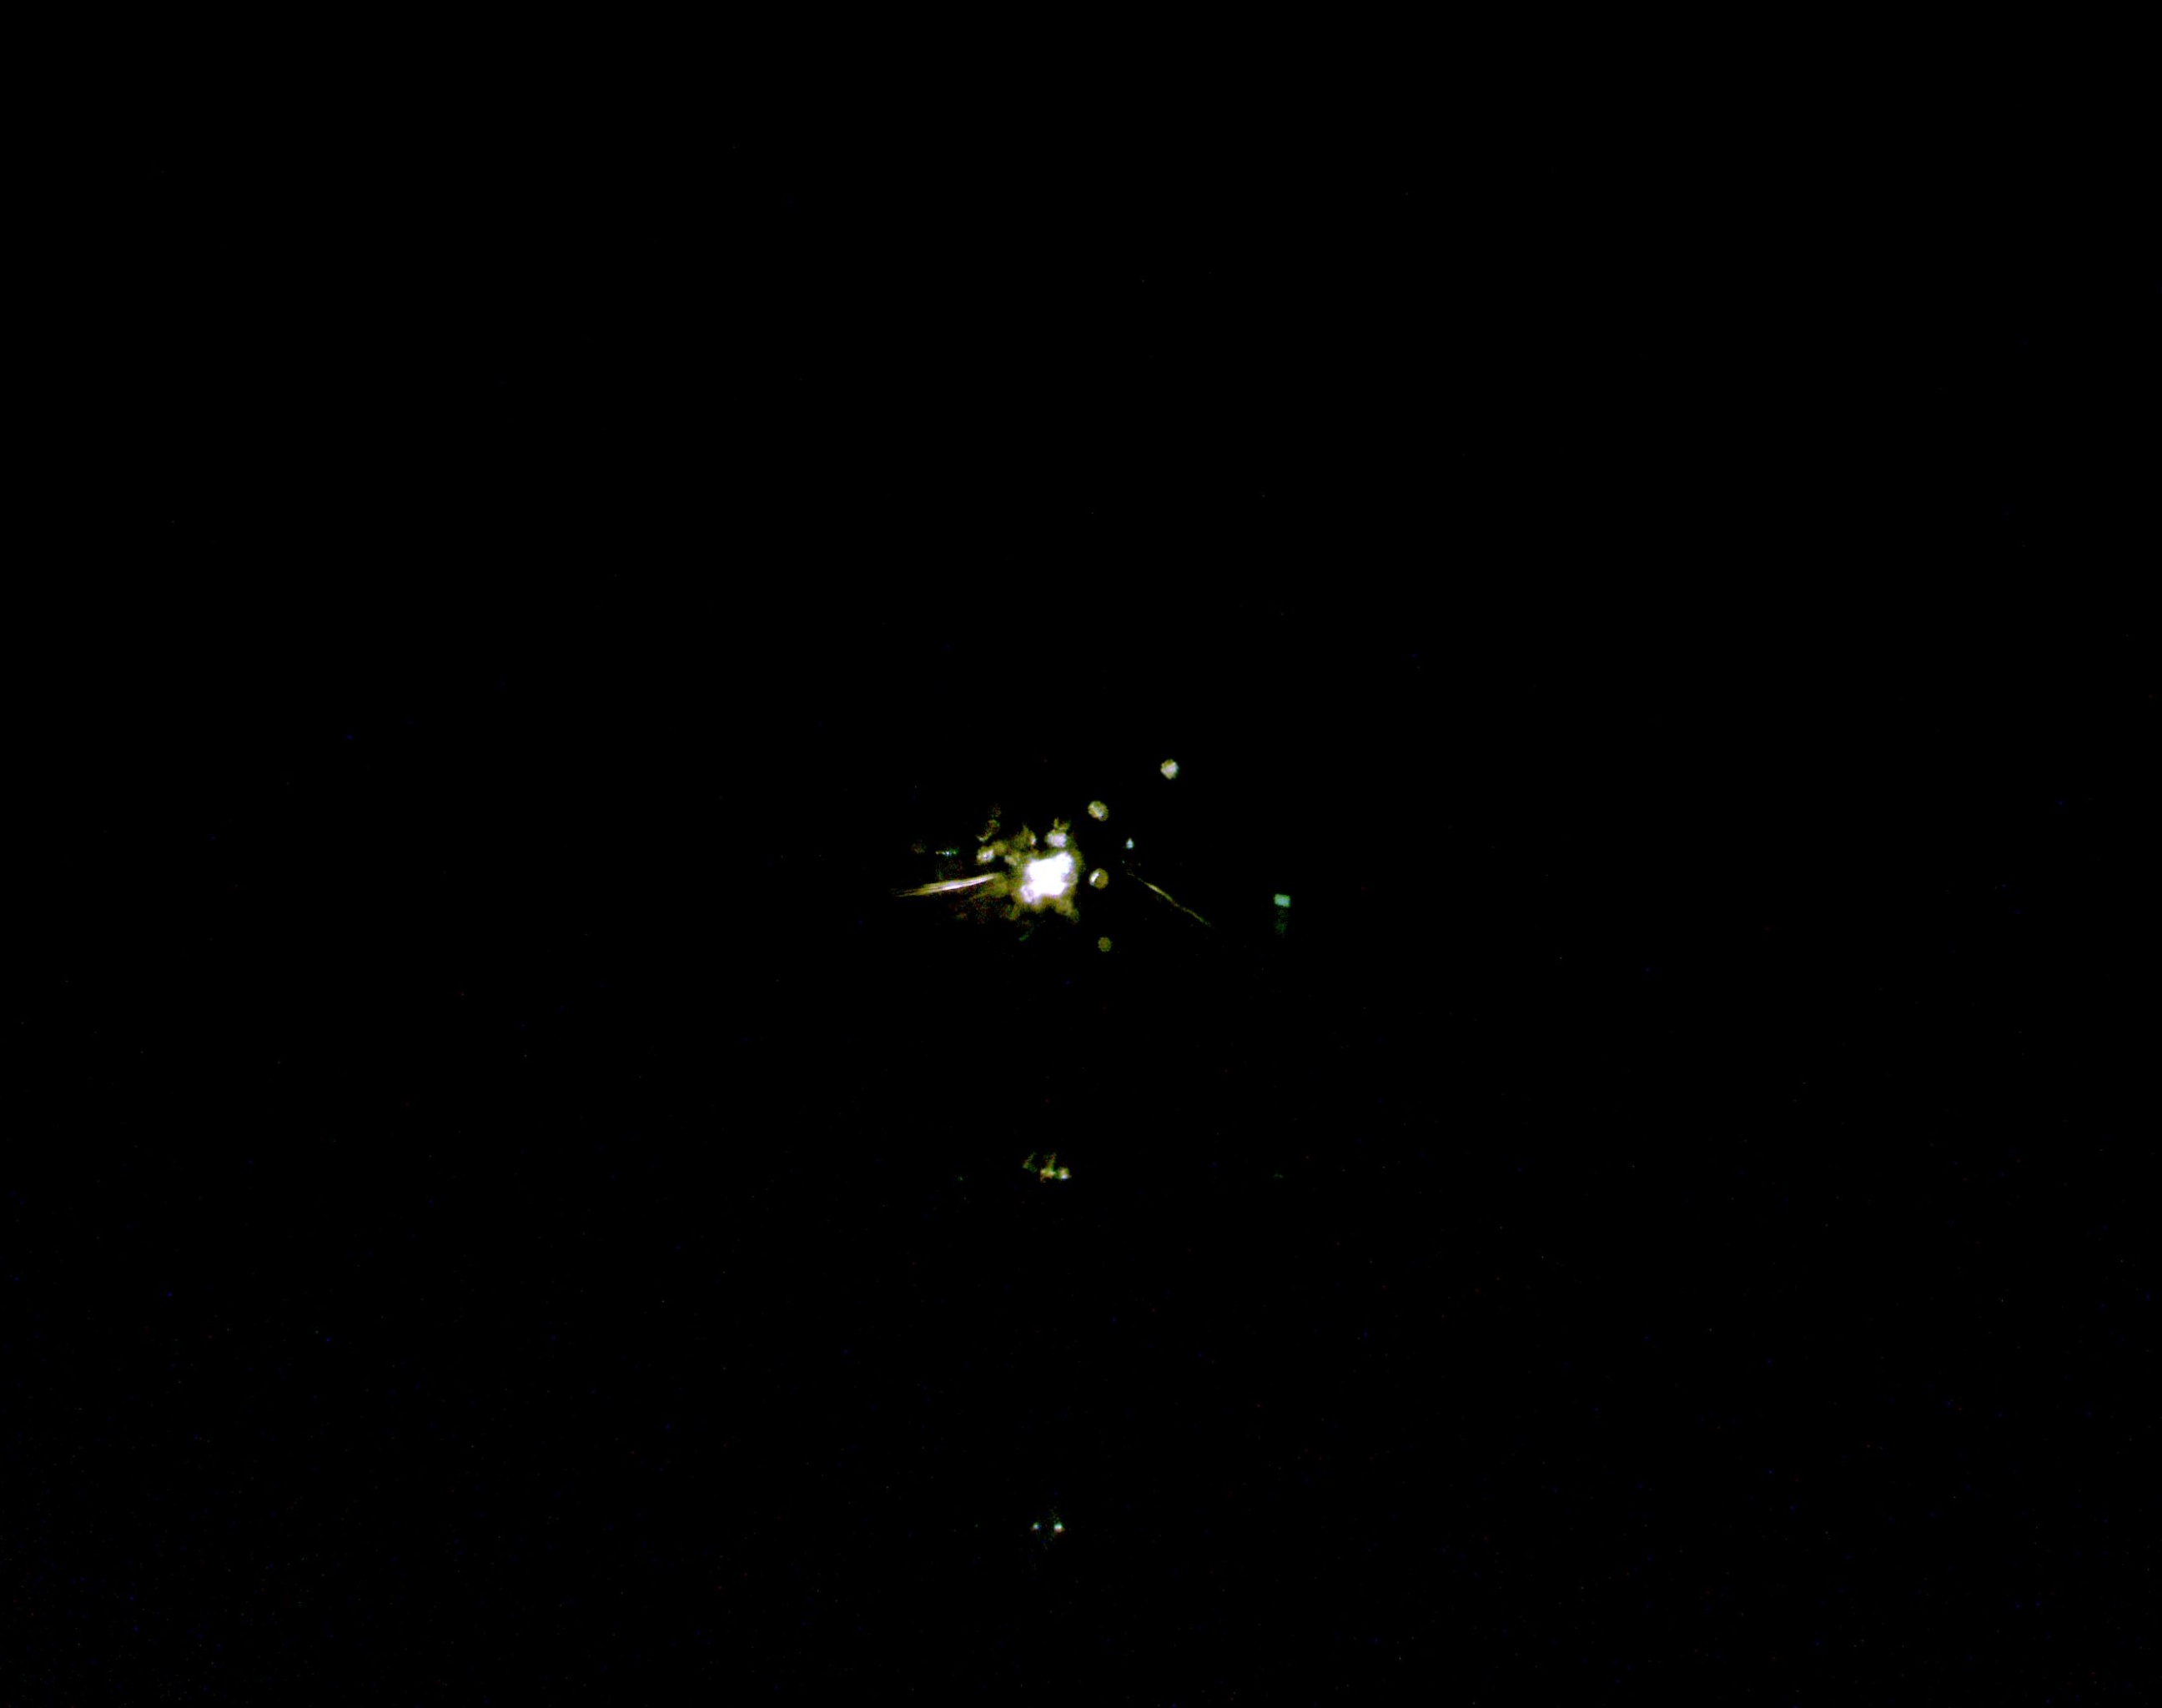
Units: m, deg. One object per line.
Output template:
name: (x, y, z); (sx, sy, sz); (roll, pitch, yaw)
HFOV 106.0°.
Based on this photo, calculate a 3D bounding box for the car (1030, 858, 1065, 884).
car: (-2.058, 1.028, 51.136); (1.987, 1.457, 4.097); (-3, 0, 0)
